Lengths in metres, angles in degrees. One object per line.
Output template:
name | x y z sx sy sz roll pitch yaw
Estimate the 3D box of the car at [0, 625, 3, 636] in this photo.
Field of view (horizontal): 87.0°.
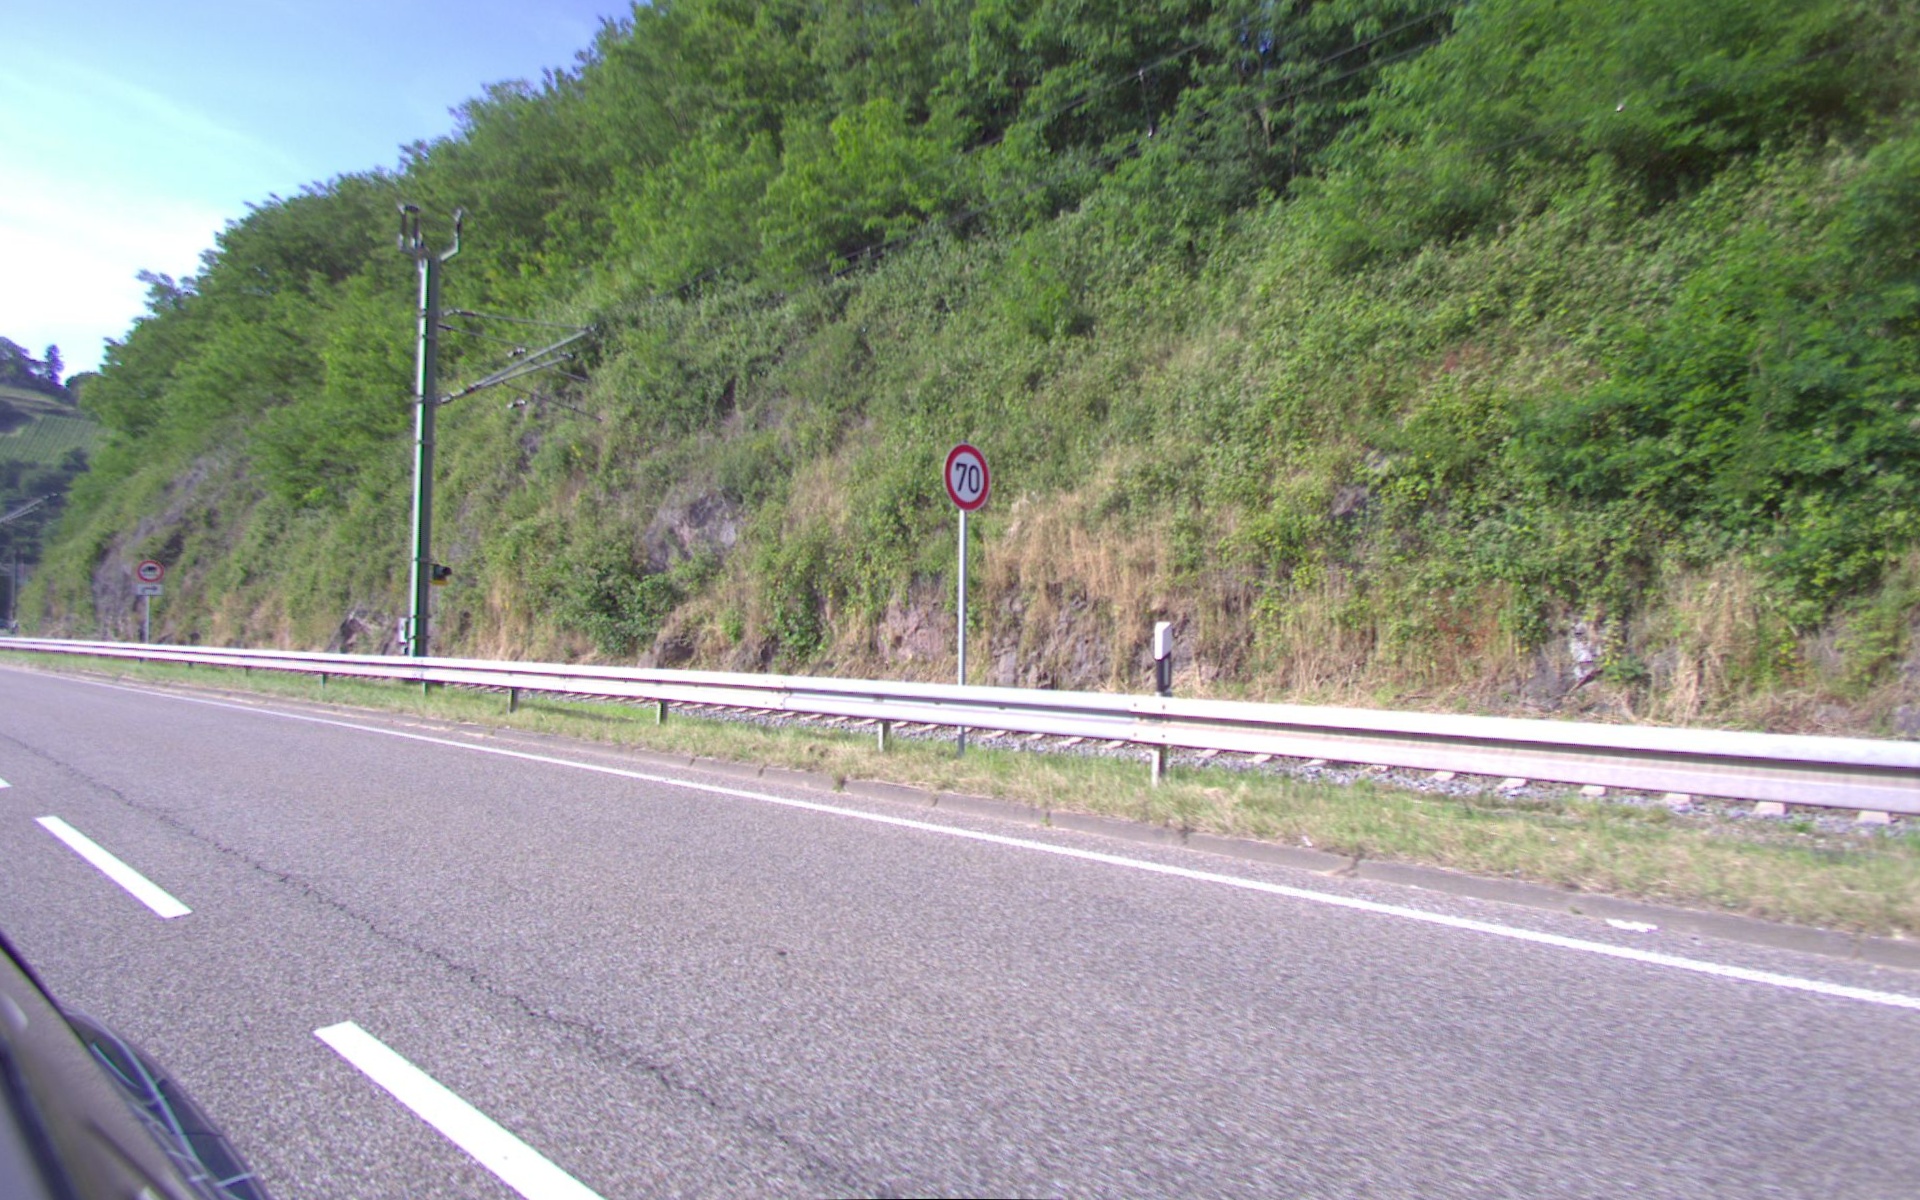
car | -142.033 4.522 148.577 1.695 1.582 4.145 1 -1 -35
